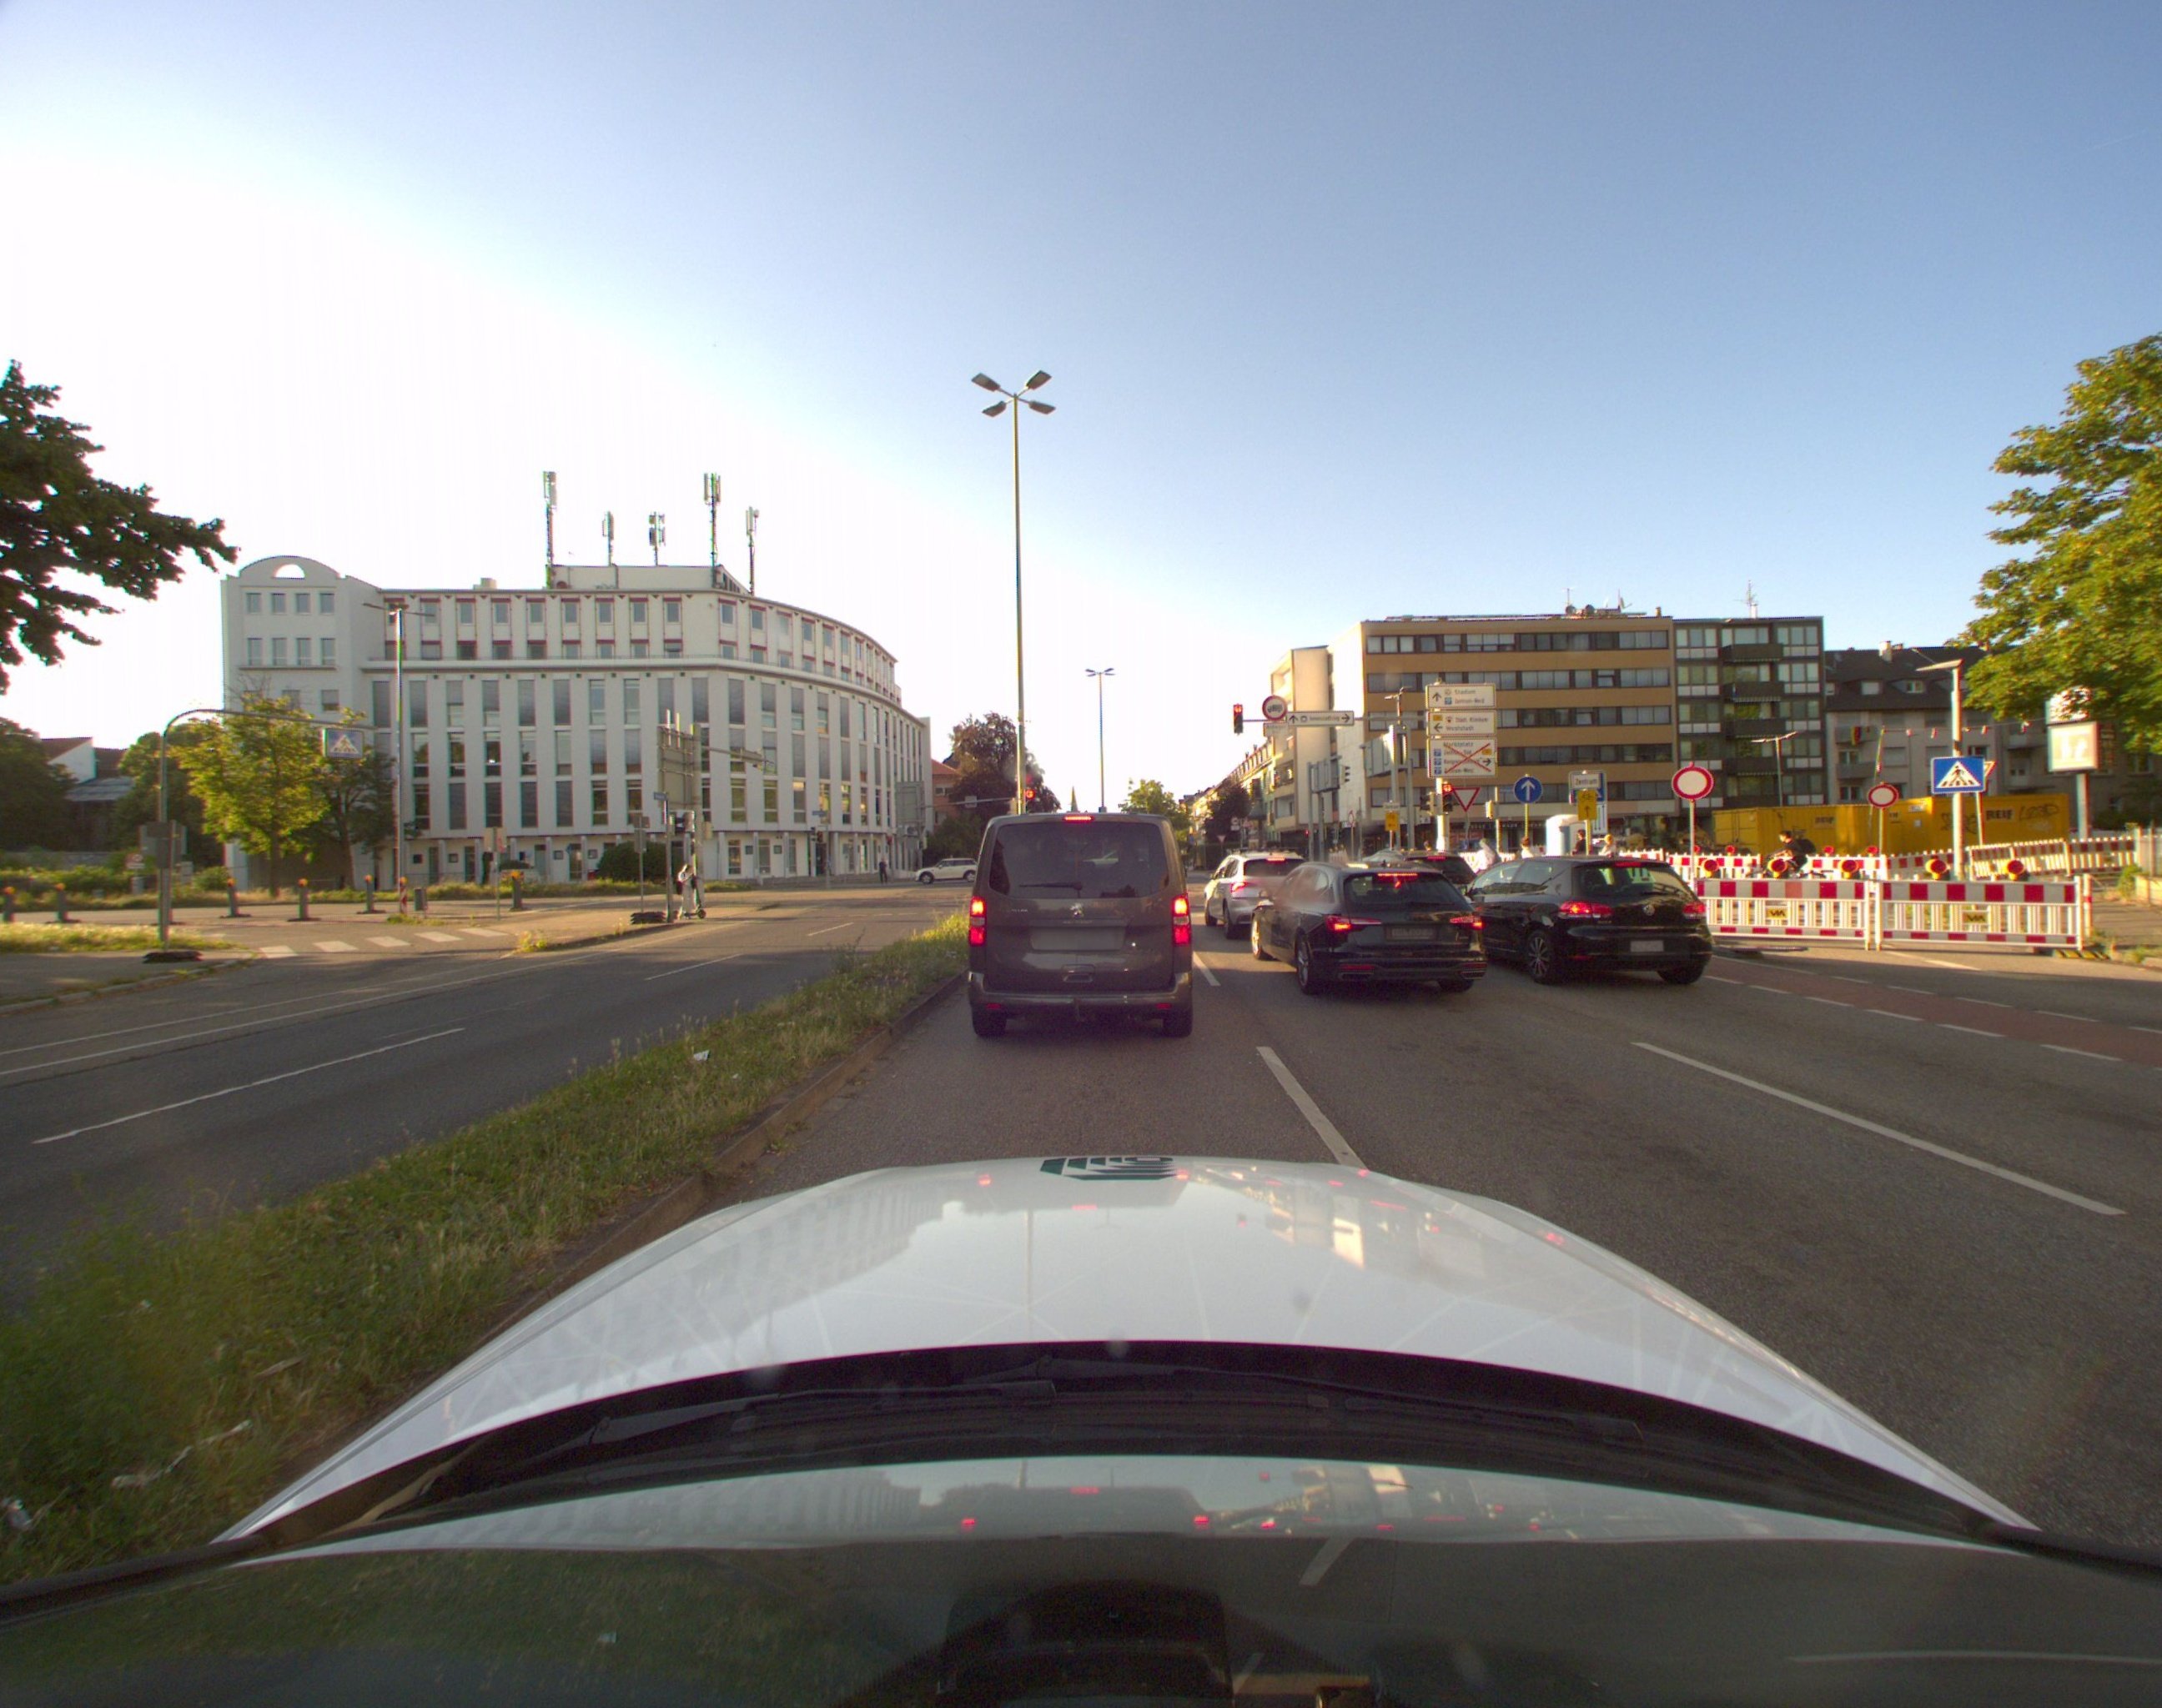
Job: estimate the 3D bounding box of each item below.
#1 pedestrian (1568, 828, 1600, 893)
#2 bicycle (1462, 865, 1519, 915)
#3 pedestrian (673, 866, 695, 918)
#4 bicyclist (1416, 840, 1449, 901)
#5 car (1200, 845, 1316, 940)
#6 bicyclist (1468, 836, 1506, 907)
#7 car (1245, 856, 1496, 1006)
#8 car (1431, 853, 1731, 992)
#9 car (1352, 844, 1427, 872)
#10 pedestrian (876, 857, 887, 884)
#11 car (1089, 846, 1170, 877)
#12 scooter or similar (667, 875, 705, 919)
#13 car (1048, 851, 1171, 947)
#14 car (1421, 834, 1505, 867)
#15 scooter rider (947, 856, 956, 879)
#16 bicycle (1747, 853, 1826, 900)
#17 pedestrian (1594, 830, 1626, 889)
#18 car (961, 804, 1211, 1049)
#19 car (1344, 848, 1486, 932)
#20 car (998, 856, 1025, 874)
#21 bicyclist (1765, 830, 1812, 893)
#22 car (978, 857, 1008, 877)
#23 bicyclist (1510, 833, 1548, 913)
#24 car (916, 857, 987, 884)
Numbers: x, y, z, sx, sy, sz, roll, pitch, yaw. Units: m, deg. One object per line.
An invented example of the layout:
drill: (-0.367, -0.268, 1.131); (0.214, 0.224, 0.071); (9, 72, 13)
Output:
pedestrian: (14.482, 0.180, 23.440); (0.571, 1.834, 0.485); (-2, 0, -16)
bicycle: (8.947, 0.770, 17.867); (0.335, 1.008, 1.856); (-2, 0, 2)
pedestrian: (-11.609, 1.108, 23.814); (0.474, 1.505, 0.334); (-2, 0, -10)
bicyclist: (9.014, 0.414, 20.887); (0.511, 1.525, 0.725); (-2, 0, 1)
car: (3.286, 0.656, 15.714); (1.523, 1.613, 3.746); (0, 0, 2)
bicyclist: (8.946, 0.385, 17.951); (0.439, 1.525, 0.725); (-2, 0, 2)
car: (3.205, 0.745, 9.936); (1.675, 1.421, 4.215); (0, 0, 2)
car: (6.041, 0.719, 10.403); (1.627, 1.449, 3.746); (0, 0, 2)
car: (17.888, 0.218, 47.325); (3.673, 1.387, 1.692); (-3, 0, -9)
pedestrian: (-12.772, 1.032, 52.144); (0.626, 1.722, 0.668); (-2, 0, -12)
car: (2.670, 0.394, 45.425); (4.326, 1.549, 1.787); (-2, 0, -2)
scooter or similar: (-11.428, 1.241, 23.594); (0.893, 1.234, 0.370); (-2, 0, -10)
car: (0.538, 0.746, 15.504); (1.986, 1.530, 4.002); (-2, 0, 2)
car: (23.112, -0.201, 49.344); (4.210, 1.817, 1.996); (-2, 0, -6)
scooter rider: (-9.451, 0.975, 59.589); (0.479, 1.697, 0.636); (-2, 0, 1)
bicycle: (18.067, 0.556, 20.873); (1.480, 1.161, 0.376); (0, 1, 31)
pedestrian: (15.325, 0.163, 23.596); (0.603, 1.671, 0.451); (-2, 0, -19)
car: (0.110, 0.553, 8.479); (1.899, 1.863, 4.528); (0, 0, 2)
car: (6.468, 0.635, 16.118); (1.499, 1.449, 3.306); (-2, 0, 2)
car: (-5.884, 0.935, 69.184); (1.850, 1.420, 4.000); (-2, 0, 0)
bicyclist: (18.102, 0.178, 20.855); (0.804, 1.589, 0.624); (0, 1, 31)
car: (-6.802, 1.017, 63.383); (1.850, 1.420, 4.000); (-2, 0, 0)
bicyclist: (8.678, 0.364, 15.798); (0.439, 1.525, 0.482); (-2, 0, 1)
car: (-7.590, 0.958, 48.060); (3.979, 1.420, 1.785); (-2, 0, -4)
